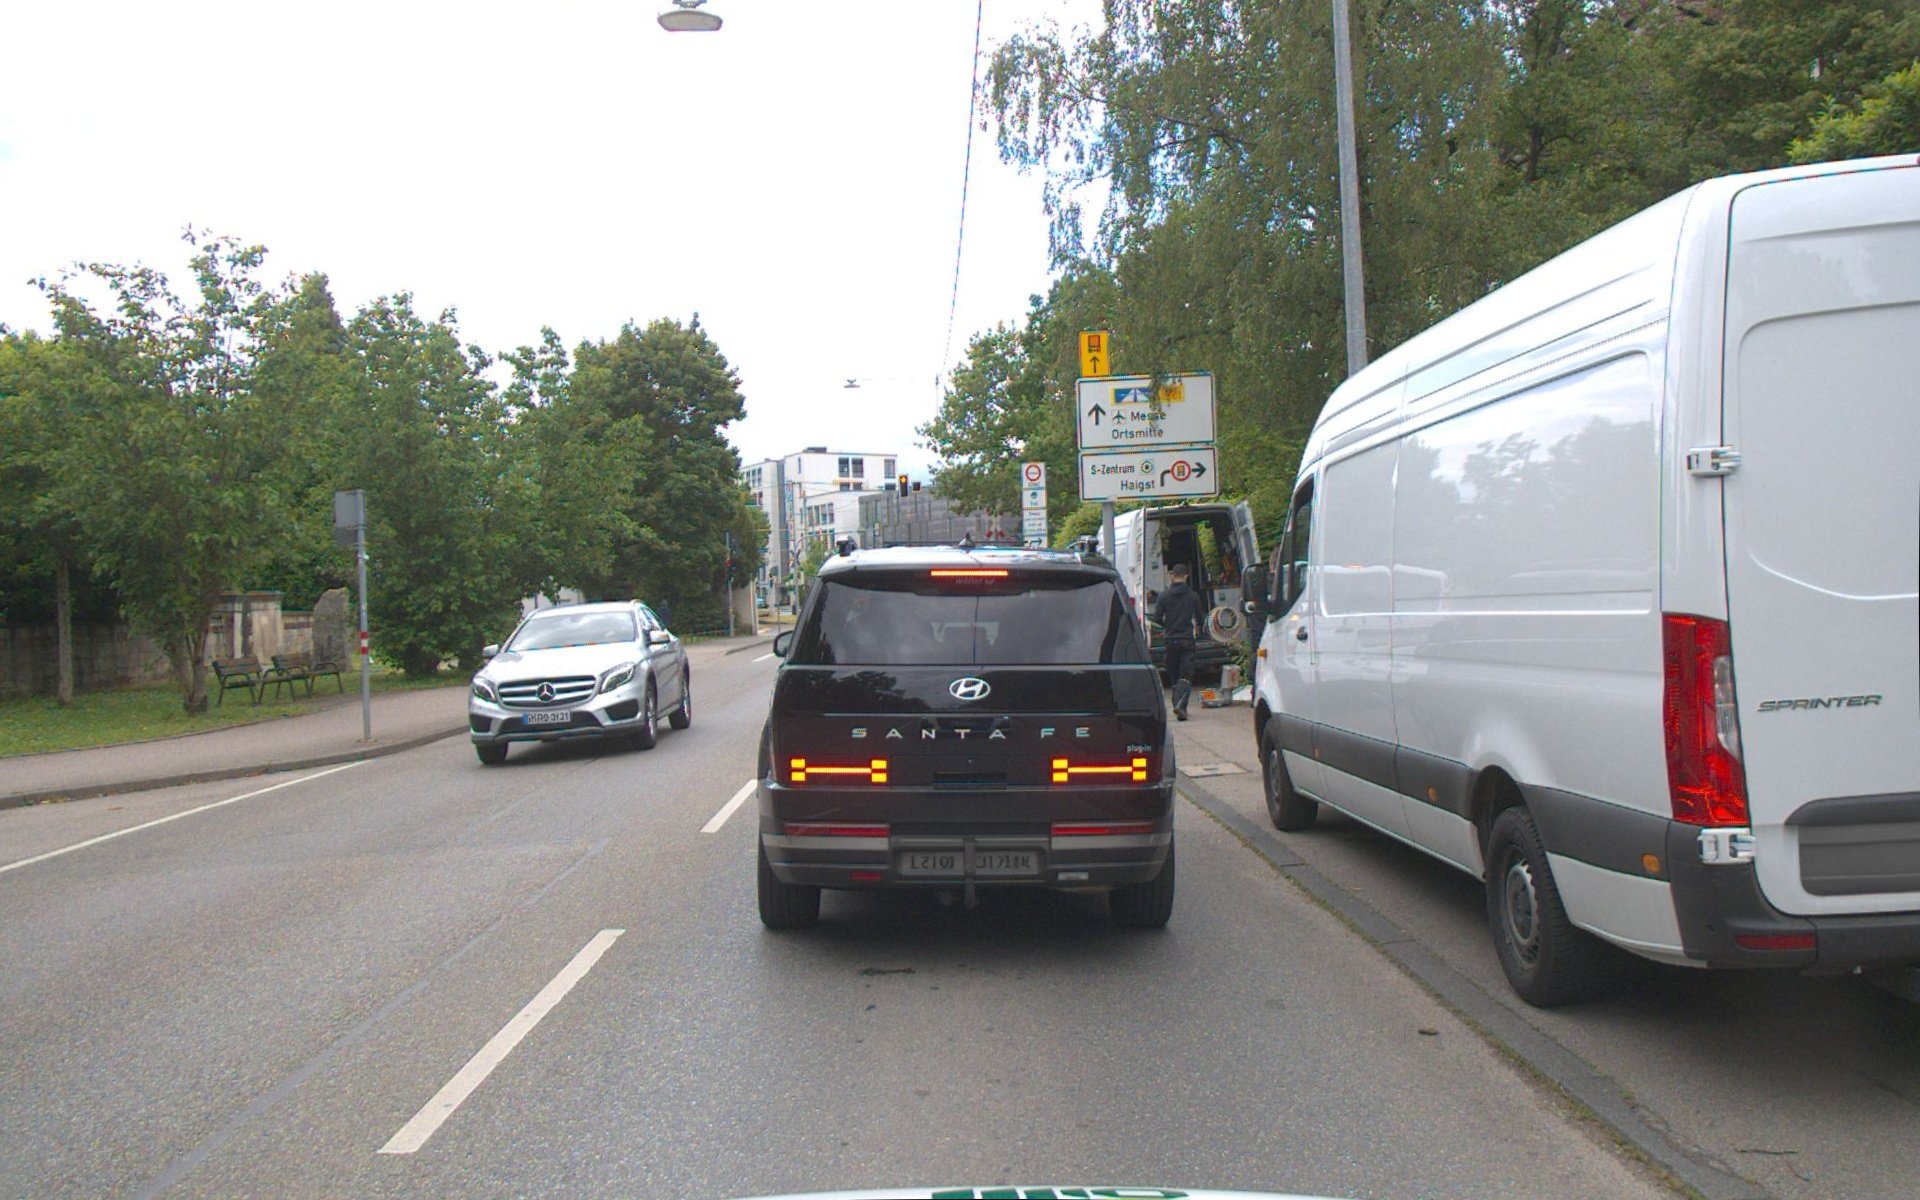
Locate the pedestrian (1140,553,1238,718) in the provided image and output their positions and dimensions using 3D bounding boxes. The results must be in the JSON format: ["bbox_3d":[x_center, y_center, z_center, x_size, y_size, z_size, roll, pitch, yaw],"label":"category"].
[{"bbox_3d":[2.627,0.395,18.933,0.745,1.828,0.869,-2,0,38],"label":"pedestrian"}]

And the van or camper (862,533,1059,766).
[{"bbox_3d":[-0.025,0.442,16.926,1.719,2.049,3.999,-2,0,-1],"label":"van or camper"}]

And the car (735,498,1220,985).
[{"bbox_3d":[0.039,0.531,8.321,1.851,1.851,3.999,0,0,-1],"label":"car"}]

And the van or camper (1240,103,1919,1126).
[{"bbox_3d":[2.897,0.005,7.621,1.953,2.665,6.540,-2,0,-1],"label":"van or camper"}]

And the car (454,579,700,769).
[{"bbox_3d":[-3.984,0.704,17.885,1.749,1.682,4.118,-4,0,-2],"label":"car"}]

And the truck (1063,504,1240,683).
[{"bbox_3d":[3.066,-0.090,27.675,1.904,2.606,5.212,-3,0,-4],"label":"truck"}]

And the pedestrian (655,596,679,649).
[{"bbox_3d":[-9.775,0.737,55.185,0.724,1.745,0.791,-2,0,-8],"label":"pedestrian"}]
